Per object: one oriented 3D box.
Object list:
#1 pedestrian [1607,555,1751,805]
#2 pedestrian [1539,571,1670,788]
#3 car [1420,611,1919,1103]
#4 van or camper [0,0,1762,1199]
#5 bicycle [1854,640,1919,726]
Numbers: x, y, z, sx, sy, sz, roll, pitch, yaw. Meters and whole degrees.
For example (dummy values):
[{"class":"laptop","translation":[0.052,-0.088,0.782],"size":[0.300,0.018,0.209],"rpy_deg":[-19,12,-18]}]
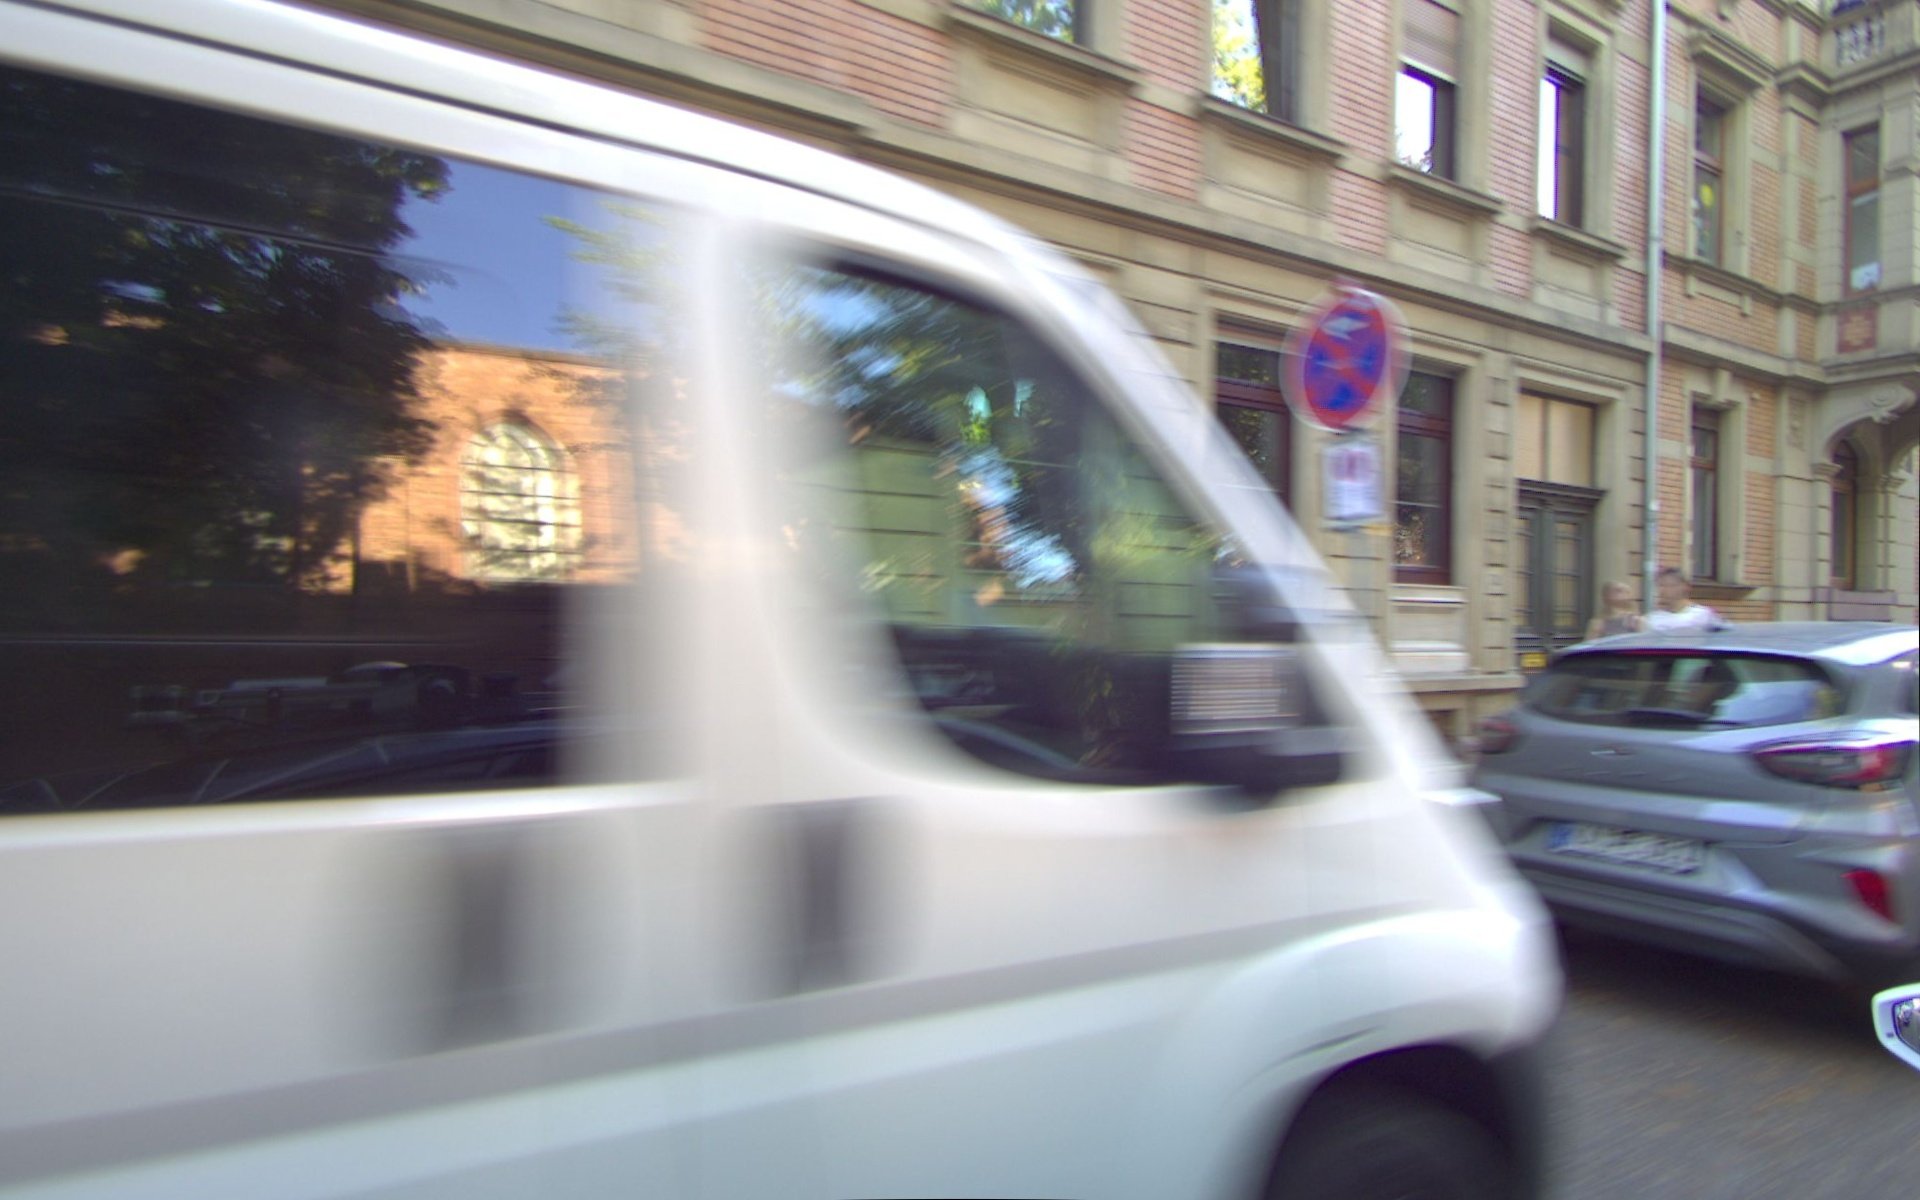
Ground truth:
[{"class":"pedestrian","translation":[5.825,0.621,8.140],"size":[0.894,1.907,0.576],"rpy_deg":[2,0,-30]},{"class":"pedestrian","translation":[5.611,0.661,8.759],"size":[0.641,1.795,0.698],"rpy_deg":[2,0,-29]},{"class":"car","translation":[4.353,0.862,4.949],"size":[4.144,1.534,1.758],"rpy_deg":[1,-2,-31]},{"class":"van or camper","translation":[-1.057,0.402,1.868],"size":[5.090,2.176,2.168],"rpy_deg":[1,-2,-28]},{"class":"bicycle","translation":[12.647,1.088,13.421],"size":[1.528,1.055,0.568],"rpy_deg":[1,2,-30]}]
